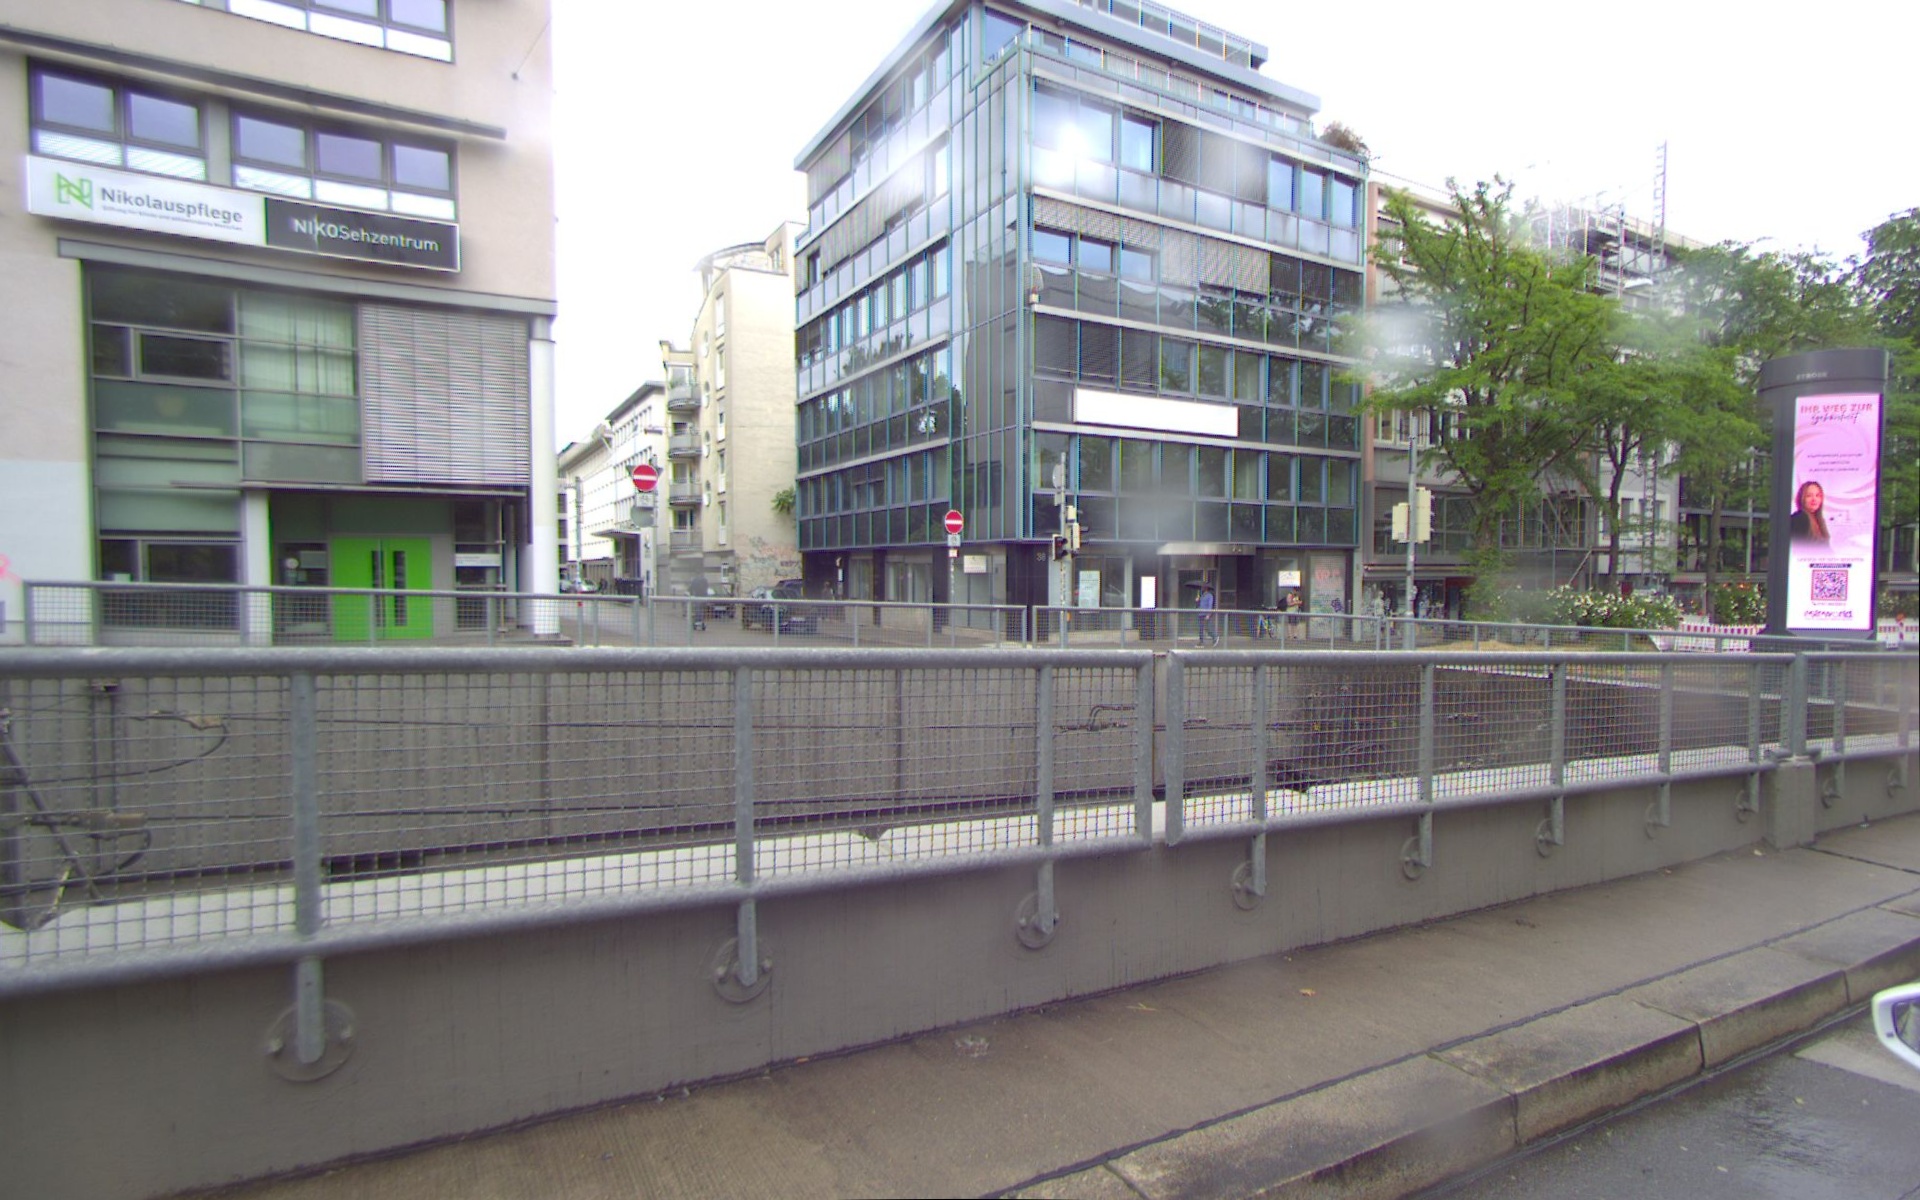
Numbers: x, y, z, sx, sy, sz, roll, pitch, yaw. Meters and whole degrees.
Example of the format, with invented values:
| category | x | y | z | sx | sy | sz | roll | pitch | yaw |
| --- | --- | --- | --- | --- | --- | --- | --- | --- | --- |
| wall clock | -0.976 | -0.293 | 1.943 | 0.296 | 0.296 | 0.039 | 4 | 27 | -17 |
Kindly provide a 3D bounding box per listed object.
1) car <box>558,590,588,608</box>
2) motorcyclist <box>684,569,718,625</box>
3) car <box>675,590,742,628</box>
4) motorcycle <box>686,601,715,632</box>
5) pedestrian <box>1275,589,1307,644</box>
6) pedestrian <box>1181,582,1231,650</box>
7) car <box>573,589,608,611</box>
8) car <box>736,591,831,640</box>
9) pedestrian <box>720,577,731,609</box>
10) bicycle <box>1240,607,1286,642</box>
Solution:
| category | x | y | z | sx | sy | sz | roll | pitch | yaw |
| --- | --- | --- | --- | --- | --- | --- | --- | --- | --- |
| car | -33.902 | -0.114 | 87.920 | 1.777 | 1.578 | 3.967 | 1 | 0 | -30 |
| motorcyclist | -8.667 | -0.099 | 33.636 | 0.850 | 1.832 | 1.007 | 1 | 2 | -29 |
| car | -11.107 | 0.367 | 44.113 | 1.777 | 1.578 | 3.966 | 1 | 0 | -31 |
| motorcycle | -8.690 | 0.554 | 33.656 | 0.696 | 0.984 | 0.977 | 1 | 2 | -29 |
| pedestrian | 10.949 | 0.548 | 33.236 | 0.688 | 1.765 | 0.691 | 1 | 2 | -35 |
| pedestrian | 6.967 | 0.452 | 28.458 | 1.047 | 1.863 | 0.853 | 1 | 2 | -30 |
| car | -28.000 | 0.008 | 76.013 | 1.777 | 1.578 | 3.967 | 1 | 0 | -30 |
| car | -6.241 | 0.506 | 35.175 | 1.977 | 1.578 | 3.966 | 1 | 0 | -31 |
| pedestrian | -12.482 | -0.373 | 53.381 | 0.443 | 1.664 | 0.326 | 1 | 2 | -35 |
| bicycle | 9.868 | 0.802 | 32.728 | 1.544 | 1.100 | 0.444 | 1 | 1 | -27 |
